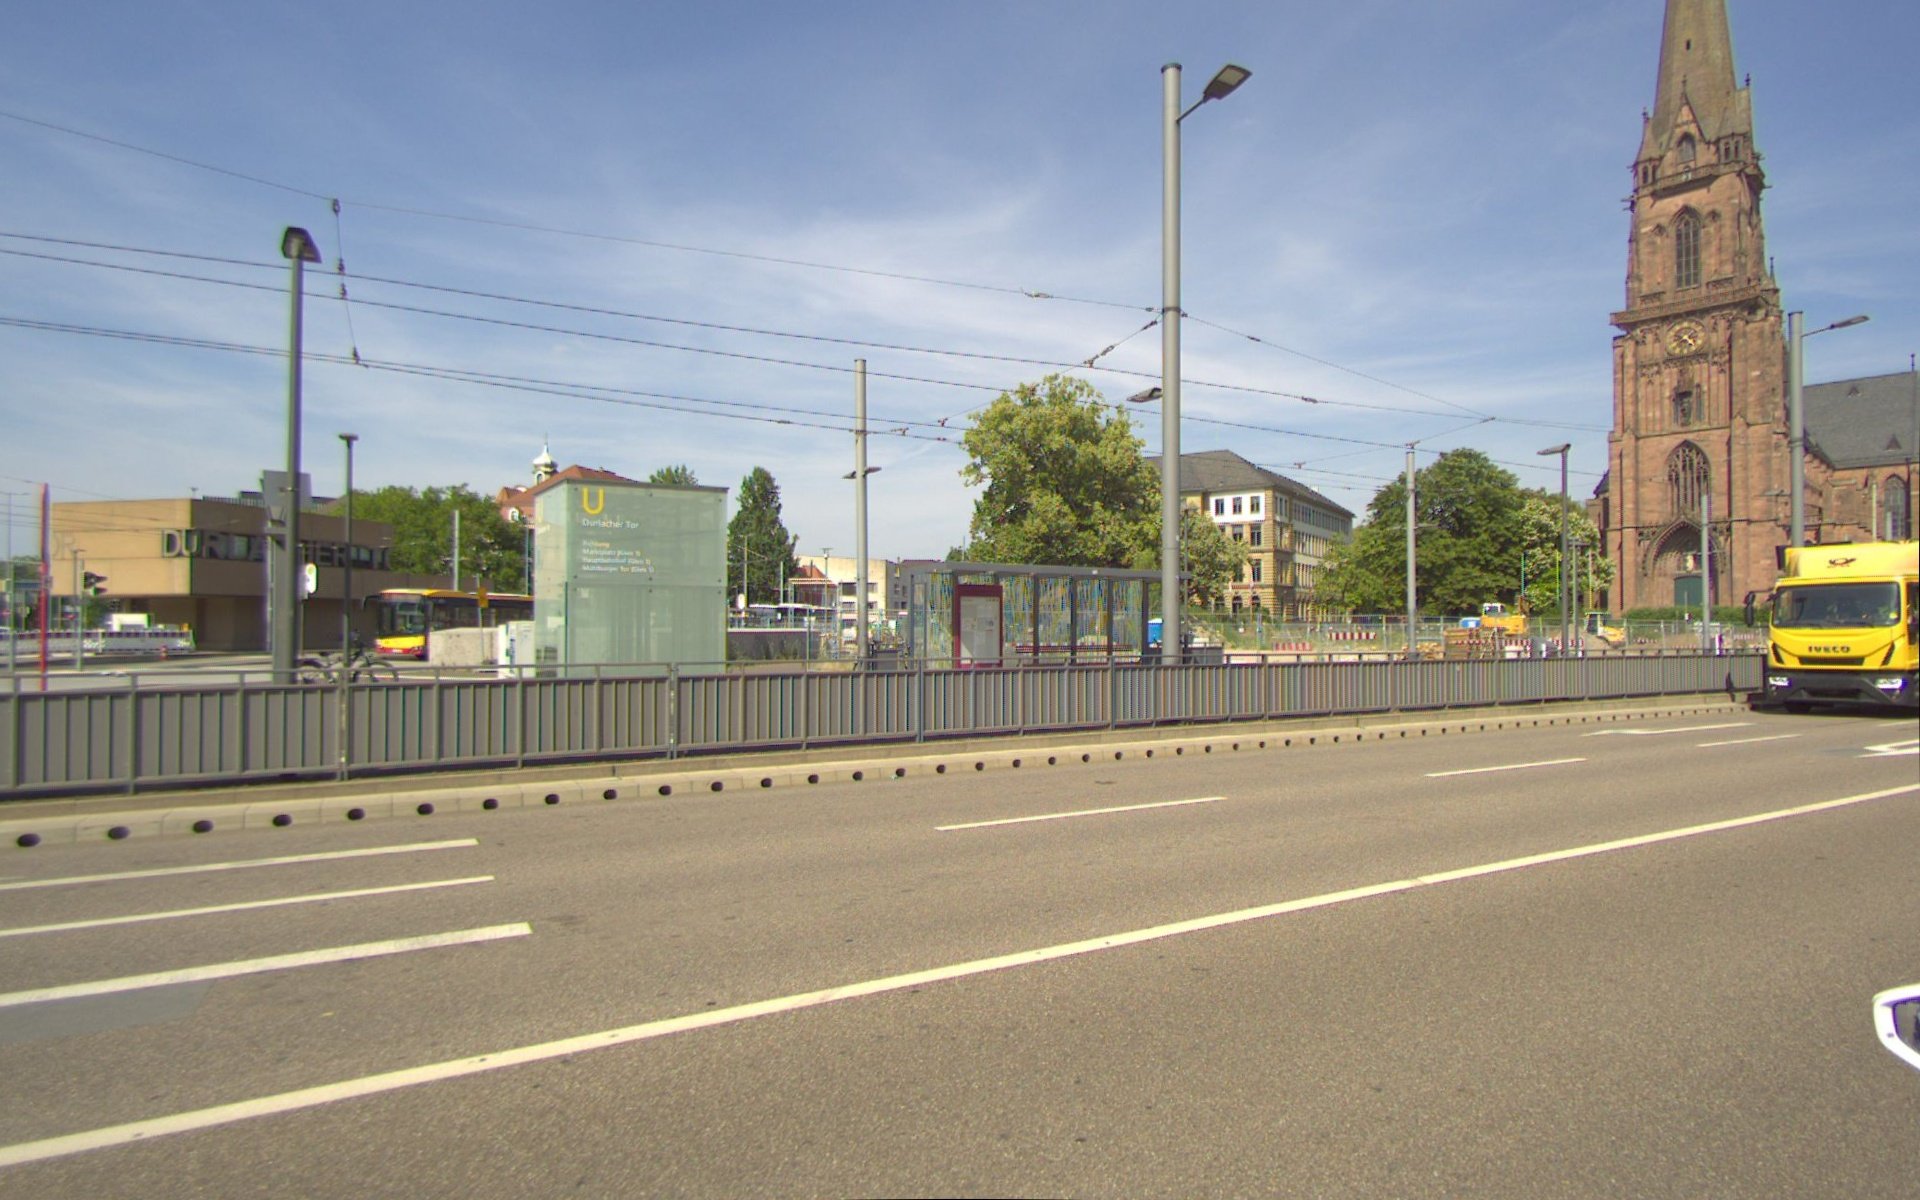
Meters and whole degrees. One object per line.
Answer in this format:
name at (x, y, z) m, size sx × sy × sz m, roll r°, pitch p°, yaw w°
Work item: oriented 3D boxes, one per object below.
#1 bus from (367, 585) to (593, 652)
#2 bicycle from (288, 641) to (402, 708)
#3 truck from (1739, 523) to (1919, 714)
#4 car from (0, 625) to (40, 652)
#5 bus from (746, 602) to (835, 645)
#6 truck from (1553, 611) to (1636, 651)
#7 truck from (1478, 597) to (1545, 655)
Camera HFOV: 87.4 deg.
bus at (-22.222, 0.764, 47.804) m, size 2.703 × 2.718 × 11.794 m, roll -2°, pitch 0°, yaw 14°
bicycle at (-10.799, 1.293, 17.667) m, size 1.634 × 1.085 × 0.413 m, roll -2°, pitch -1°, yaw -12°
truck at (19.806, 0.480, 20.907) m, size 8.925 × 3.341 × 2.531 m, roll 1°, pitch -4°, yaw -31°
car at (-54.572, 2.200, 57.330) m, size 1.778 × 1.439 × 3.977 m, roll -2°, pitch 0°, yaw -24°
bus at (-13.775, 1.963, 83.047) m, size 2.703 × 3.366 × 11.796 m, roll 0°, pitch -2°, yaw 14°
truck at (44.889, 2.173, 71.129) m, size 2.353 × 2.714 × 4.386 m, roll 1°, pitch -2°, yaw -25°
truck at (35.856, 1.692, 65.185) m, size 2.981 × 3.616 × 6.020 m, roll -1°, pitch -2°, yaw 37°
